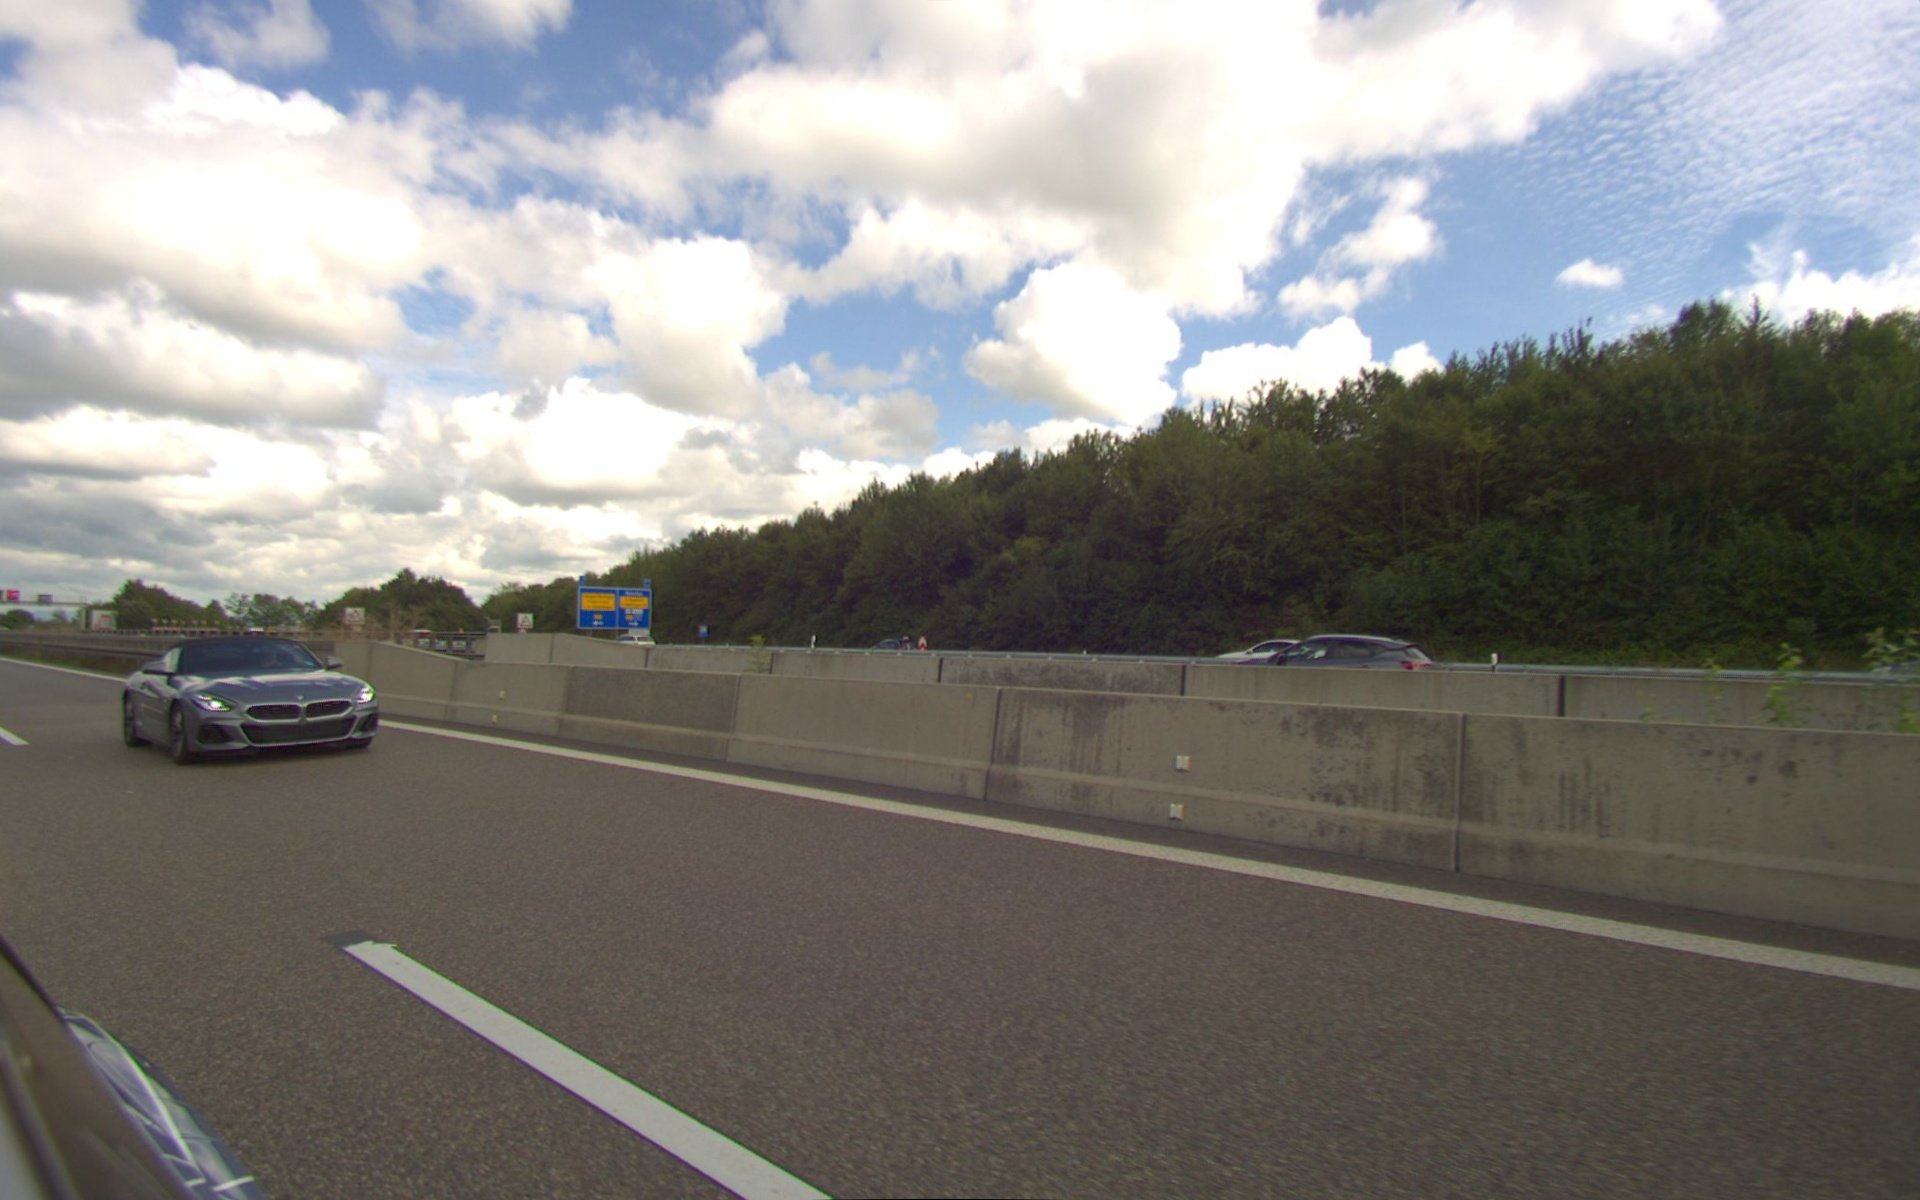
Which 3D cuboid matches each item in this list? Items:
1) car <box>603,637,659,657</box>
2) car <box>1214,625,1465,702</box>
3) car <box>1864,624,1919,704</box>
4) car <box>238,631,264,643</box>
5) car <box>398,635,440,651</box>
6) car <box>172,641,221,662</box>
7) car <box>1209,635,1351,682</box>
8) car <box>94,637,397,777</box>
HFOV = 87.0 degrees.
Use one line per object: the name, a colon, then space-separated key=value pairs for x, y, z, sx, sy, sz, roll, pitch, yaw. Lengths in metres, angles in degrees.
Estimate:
car: x=-22.443 y=3.190 z=68.944 sx=4.245 sy=1.325 sz=1.625 roll=-2 pitch=-3 yaw=41
car: x=7.231 y=1.176 z=19.562 sx=4.245 sy=1.325 sz=1.625 roll=-2 pitch=-3 yaw=41
car: x=26.197 y=1.647 z=25.985 sx=4.342 sy=2.029 sz=1.973 roll=-2 pitch=-1 yaw=41
car: x=-99.638 y=5.198 z=142.187 sx=5.009 sy=1.589 sz=1.752 roll=-2 pitch=-3 yaw=41
car: x=-44.672 y=3.542 z=83.571 sx=4.245 sy=1.325 sz=1.625 roll=-2 pitch=-3 yaw=41
car: x=-49.963 y=3.379 z=66.197 sx=4.245 sy=1.325 sz=1.625 roll=-2 pitch=-4 yaw=41
car: x=10.939 y=1.969 z=34.815 sx=4.368 sy=1.529 sz=1.658 roll=-2 pitch=-3 yaw=43
car: x=-8.701 y=1.119 z=12.138 sx=4.939 sy=1.312 sz=1.854 roll=-2 pitch=-2 yaw=41
